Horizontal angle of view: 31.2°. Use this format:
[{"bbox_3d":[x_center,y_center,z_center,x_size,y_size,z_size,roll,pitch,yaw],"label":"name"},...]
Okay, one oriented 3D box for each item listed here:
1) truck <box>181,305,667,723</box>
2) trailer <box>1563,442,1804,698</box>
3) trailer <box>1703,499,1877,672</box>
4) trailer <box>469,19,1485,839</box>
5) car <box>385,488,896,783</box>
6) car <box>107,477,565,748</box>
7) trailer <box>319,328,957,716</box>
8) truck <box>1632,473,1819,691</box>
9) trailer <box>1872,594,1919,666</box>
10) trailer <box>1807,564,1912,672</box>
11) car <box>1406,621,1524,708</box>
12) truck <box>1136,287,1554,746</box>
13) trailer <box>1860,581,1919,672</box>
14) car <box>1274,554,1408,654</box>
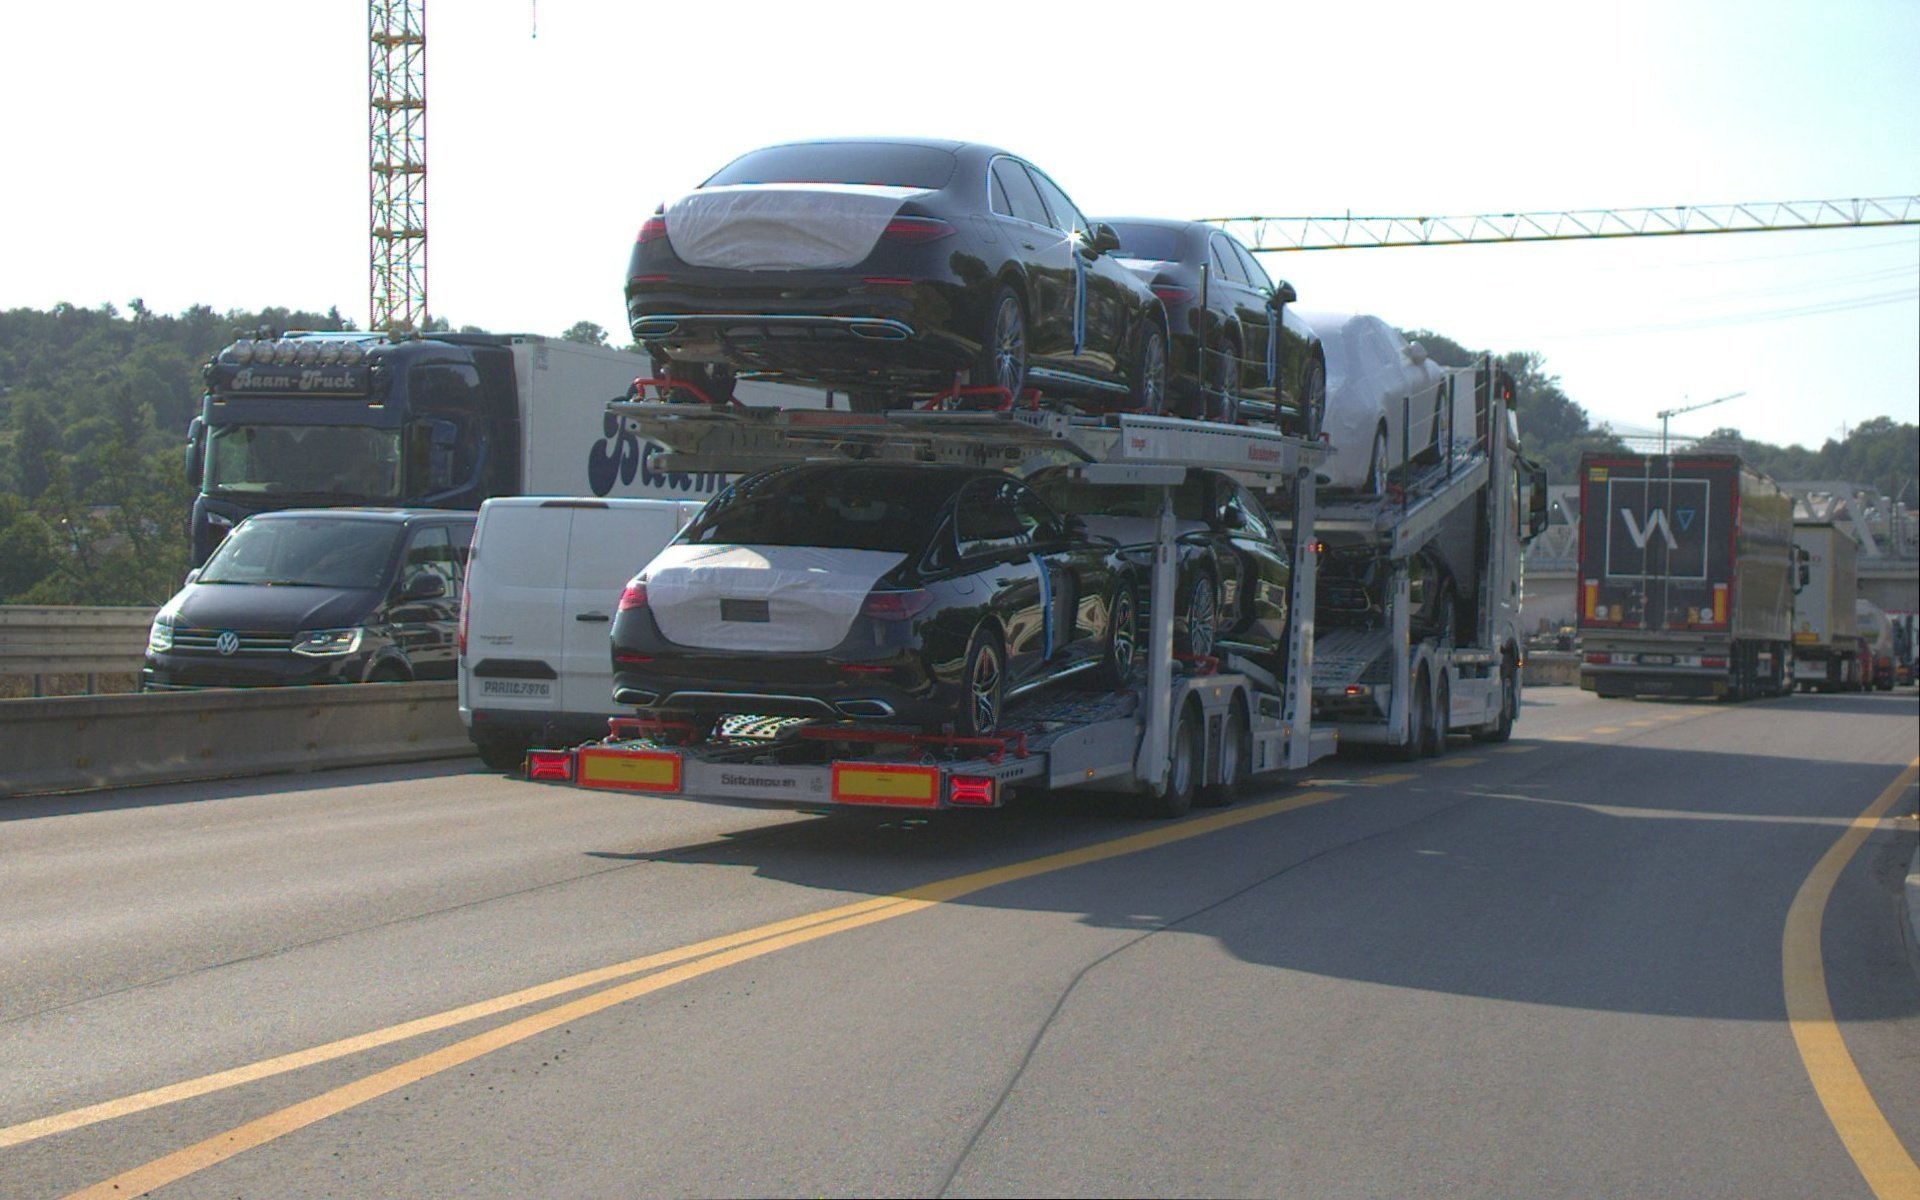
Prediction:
[{"bbox_3d":[-5.565,-0.801,36.799,2.629,4.053,6.124,-1,-1,18],"label":"truck"},{"bbox_3d":[12.897,-0.418,60.497,2.961,4.078,10.783,-1,-1,18],"label":"trailer"},{"bbox_3d":[21.161,-0.277,86.934,3.387,3.983,14.732,0,0,17],"label":"trailer"},{"bbox_3d":[1.173,-0.771,24.635,2.859,3.983,15.732,0,0,17],"label":"trailer"},{"bbox_3d":[-2.291,0.234,26.310,2.030,1.974,4.975,2,1,18],"label":"car"},{"bbox_3d":[-4.954,0.122,27.994,1.995,2.007,4.490,-1,-1,14],"label":"car"},{"bbox_3d":[-3.460,-0.748,43.194,2.629,4.053,14.067,-1,-1,18],"label":"trailer"},{"bbox_3d":[14.885,-0.306,66.511,2.887,3.983,6.618,0,0,18],"label":"truck"},{"bbox_3d":[58.333,1.850,210.928,4.100,4.299,14.239,0,0,17],"label":"trailer"},{"bbox_3d":[35.370,0.737,134.747,3.387,3.983,14.732,0,0,17],"label":"trailer"},{"bbox_3d":[10.065,1.263,68.344,1.831,1.649,3.997,-1,-1,15],"label":"car"},{"bbox_3d":[3.914,-0.704,33.447,2.851,3.983,6.619,0,0,17],"label":"truck"},{"bbox_3d":[46.551,1.308,170.441,3.106,4.299,14.239,0,0,17],"label":"trailer"},{"bbox_3d":[7.022,0.087,63.040,1.831,1.746,3.997,-1,-1,15],"label":"car"}]
